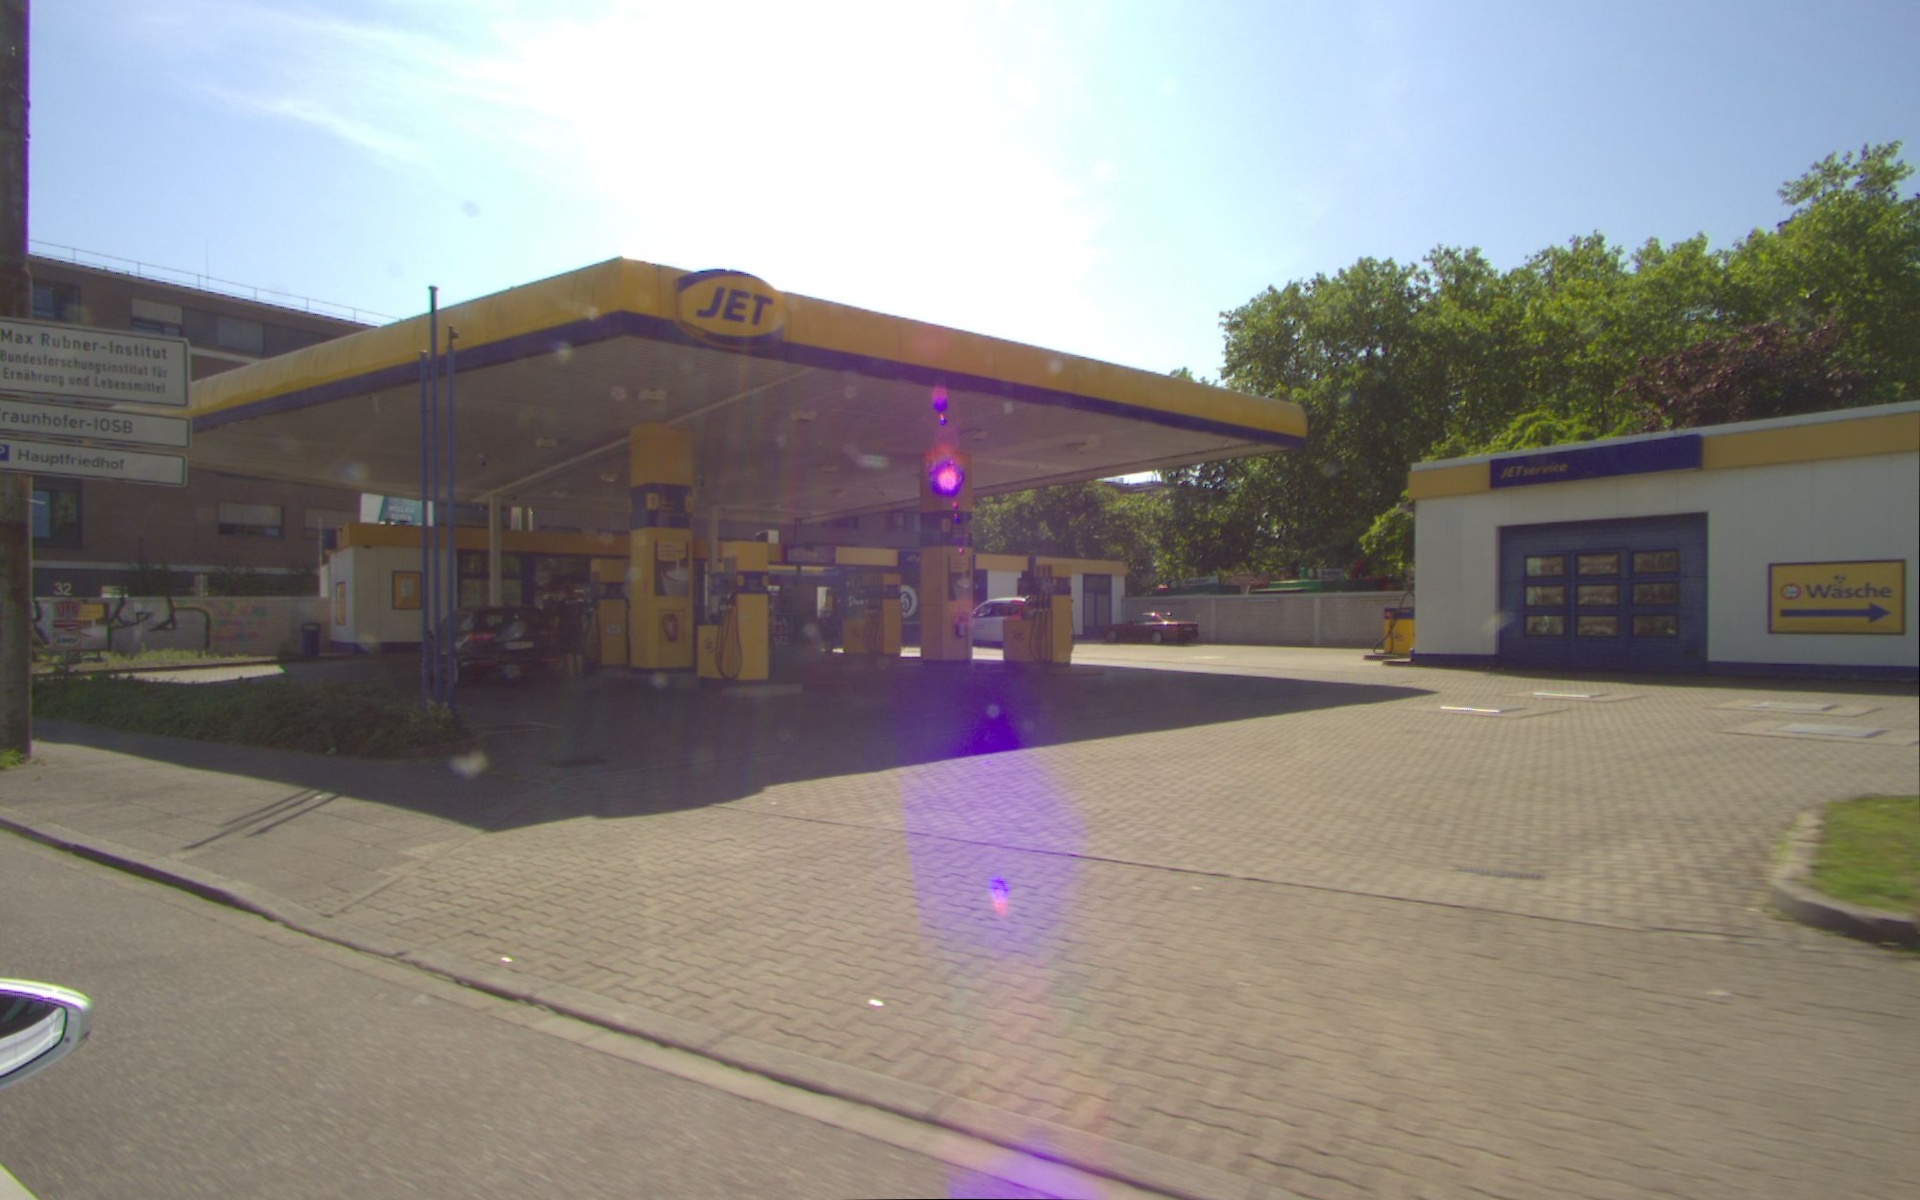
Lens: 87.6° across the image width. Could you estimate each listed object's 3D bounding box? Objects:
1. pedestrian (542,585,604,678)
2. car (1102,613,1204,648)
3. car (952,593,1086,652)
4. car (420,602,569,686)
[{"bbox_3d":[-7.532,0.602,19.478,0.734,1.748,0.854,0,0,31],"label":"pedestrian"},{"bbox_3d":[8.167,1.251,42.643,1.741,1.378,4.098,0,0,-39],"label":"car"},{"bbox_3d":[2.065,0.792,36.788,1.742,2.009,5.260,0,0,-41],"label":"car"},{"bbox_3d":[-9.233,0.785,19.667,1.741,1.474,4.375,0,0,-38],"label":"car"}]
